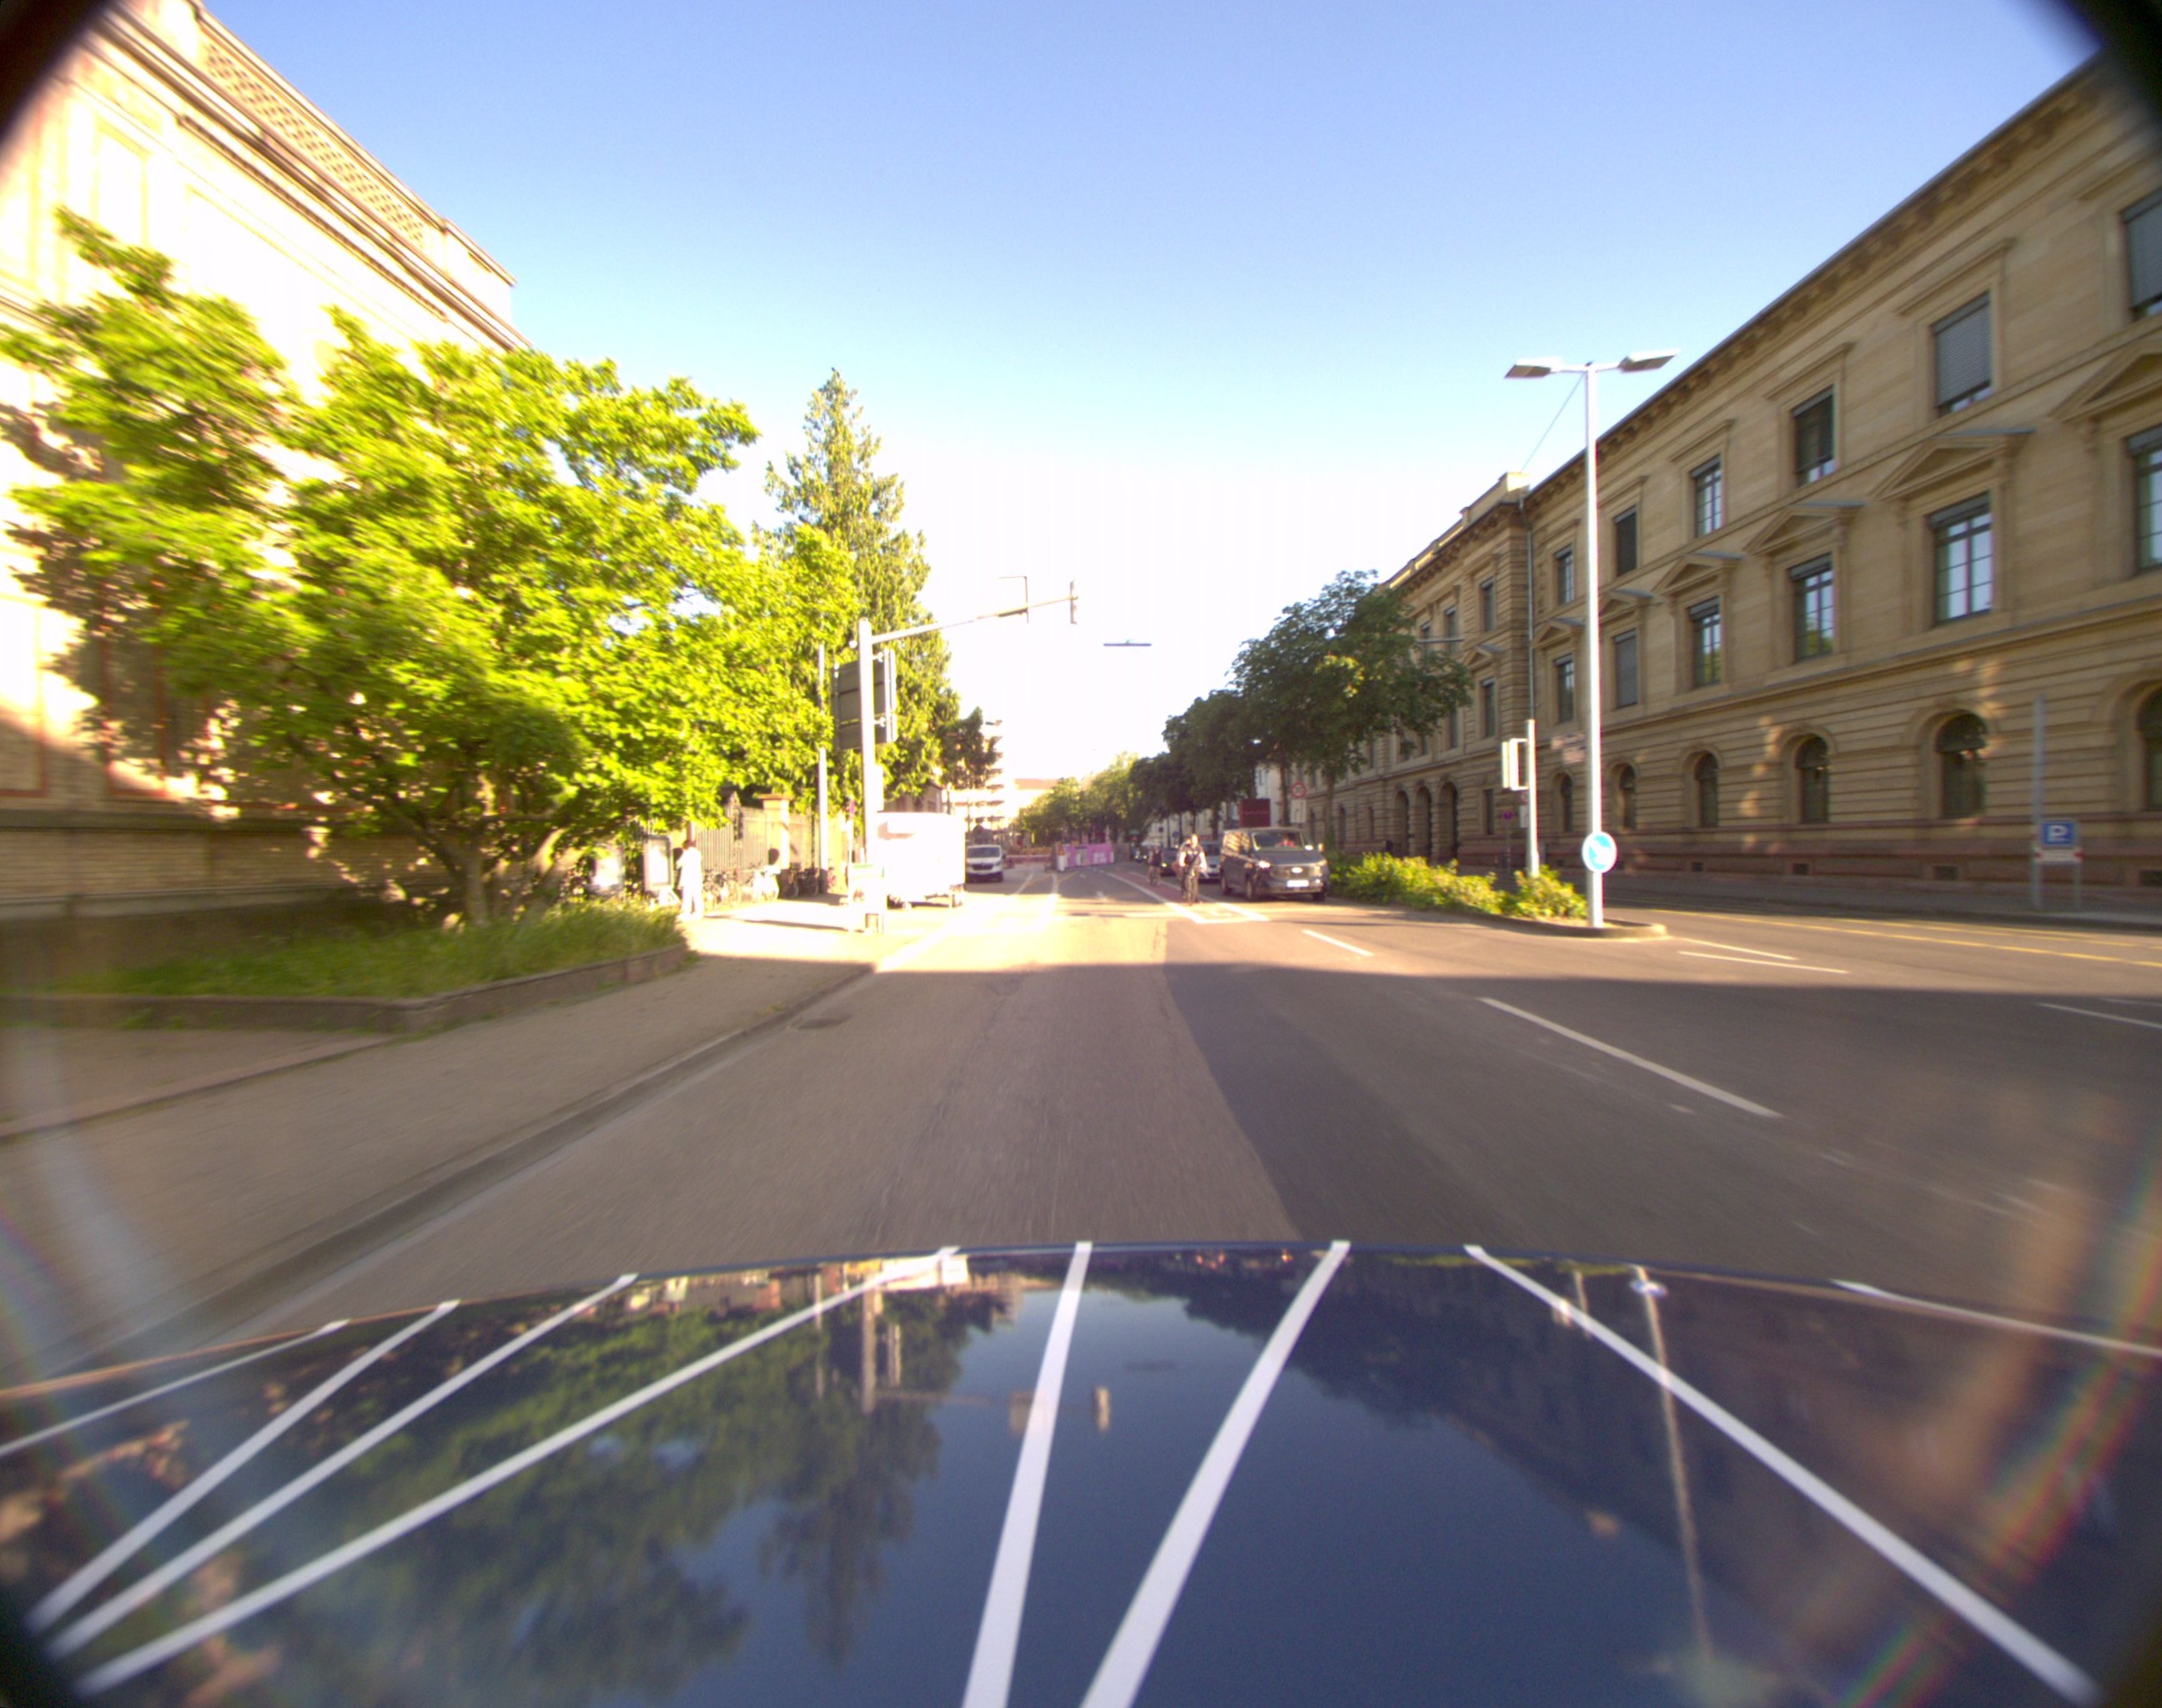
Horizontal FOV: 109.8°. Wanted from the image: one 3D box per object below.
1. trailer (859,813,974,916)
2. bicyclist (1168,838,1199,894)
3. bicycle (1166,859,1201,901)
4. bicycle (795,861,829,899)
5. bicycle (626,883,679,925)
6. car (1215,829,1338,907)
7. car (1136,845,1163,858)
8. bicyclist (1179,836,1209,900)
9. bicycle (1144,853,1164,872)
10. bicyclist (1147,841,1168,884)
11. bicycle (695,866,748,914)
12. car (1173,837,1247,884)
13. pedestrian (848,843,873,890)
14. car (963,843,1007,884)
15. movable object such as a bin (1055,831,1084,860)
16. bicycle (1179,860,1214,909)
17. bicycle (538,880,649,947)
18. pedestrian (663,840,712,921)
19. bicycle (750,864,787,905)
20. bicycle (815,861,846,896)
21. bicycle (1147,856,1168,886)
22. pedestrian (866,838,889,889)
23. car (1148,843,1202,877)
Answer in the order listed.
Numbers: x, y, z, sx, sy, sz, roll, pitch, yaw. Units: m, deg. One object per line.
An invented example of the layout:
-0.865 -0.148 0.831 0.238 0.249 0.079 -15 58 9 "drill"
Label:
-4.364 0.245 20.943 2.084 2.514 4.492 1 0 1 "trailer"
3.002 0.352 22.292 0.804 1.599 0.825 -1 1 2 "bicyclist"
2.995 0.733 22.335 0.830 1.136 1.970 -2 1 2 "bicycle"
-8.606 0.812 24.368 0.396 1.123 1.928 -1 1 0 "bicycle"
-9.098 1.055 16.190 0.264 0.789 1.451 -1 0 1 "bicycle"
5.255 0.305 21.193 2.073 1.904 5.032 -1 1 -1 "car"
7.054 -0.266 78.163 1.550 1.288 3.644 3 1 25 "car"
2.904 0.355 19.565 0.671 1.599 0.825 -1 1 3 "bicyclist"
4.219 0.482 44.137 0.872 1.036 2.453 -2 1 0 "bicycle"
2.968 0.335 29.640 0.674 1.643 0.887 -2 1 0 "bicyclist"
-8.897 0.873 18.862 0.399 1.099 1.681 1 1 5 "bicycle"
5.146 0.222 30.937 1.996 1.739 4.746 -1 0 -3 "car"
-7.894 0.440 27.202 0.684 1.691 0.693 0 1 -1 "pedestrian"
-5.029 0.427 40.500 2.020 1.934 5.478 -2 1 -5 "car"
-1.361 -1.001 87.490 3.171 3.281 4.384 0 1 -3 "movable object such as a bin"
2.946 0.748 19.564 0.643 1.148 2.077 -2 1 3 "bicycle"
-7.814 0.943 12.211 1.469 1.033 0.479 0 1 0 "bicycle"
-8.684 0.575 16.800 0.640 1.758 0.737 -1 1 3 "pedestrian"
-8.891 0.838 21.654 0.274 1.099 1.532 1 1 5 "bicycle"
-8.911 0.850 27.051 0.419 1.149 1.826 1 1 3 "bicycle"
2.985 0.649 29.752 0.670 1.066 1.753 -2 1 1 "bicycle"
-7.542 0.355 28.232 0.717 1.883 0.889 0 1 -8 "pedestrian"
4.780 0.268 39.342 1.999 1.648 4.735 -1 1 -2 "car"
